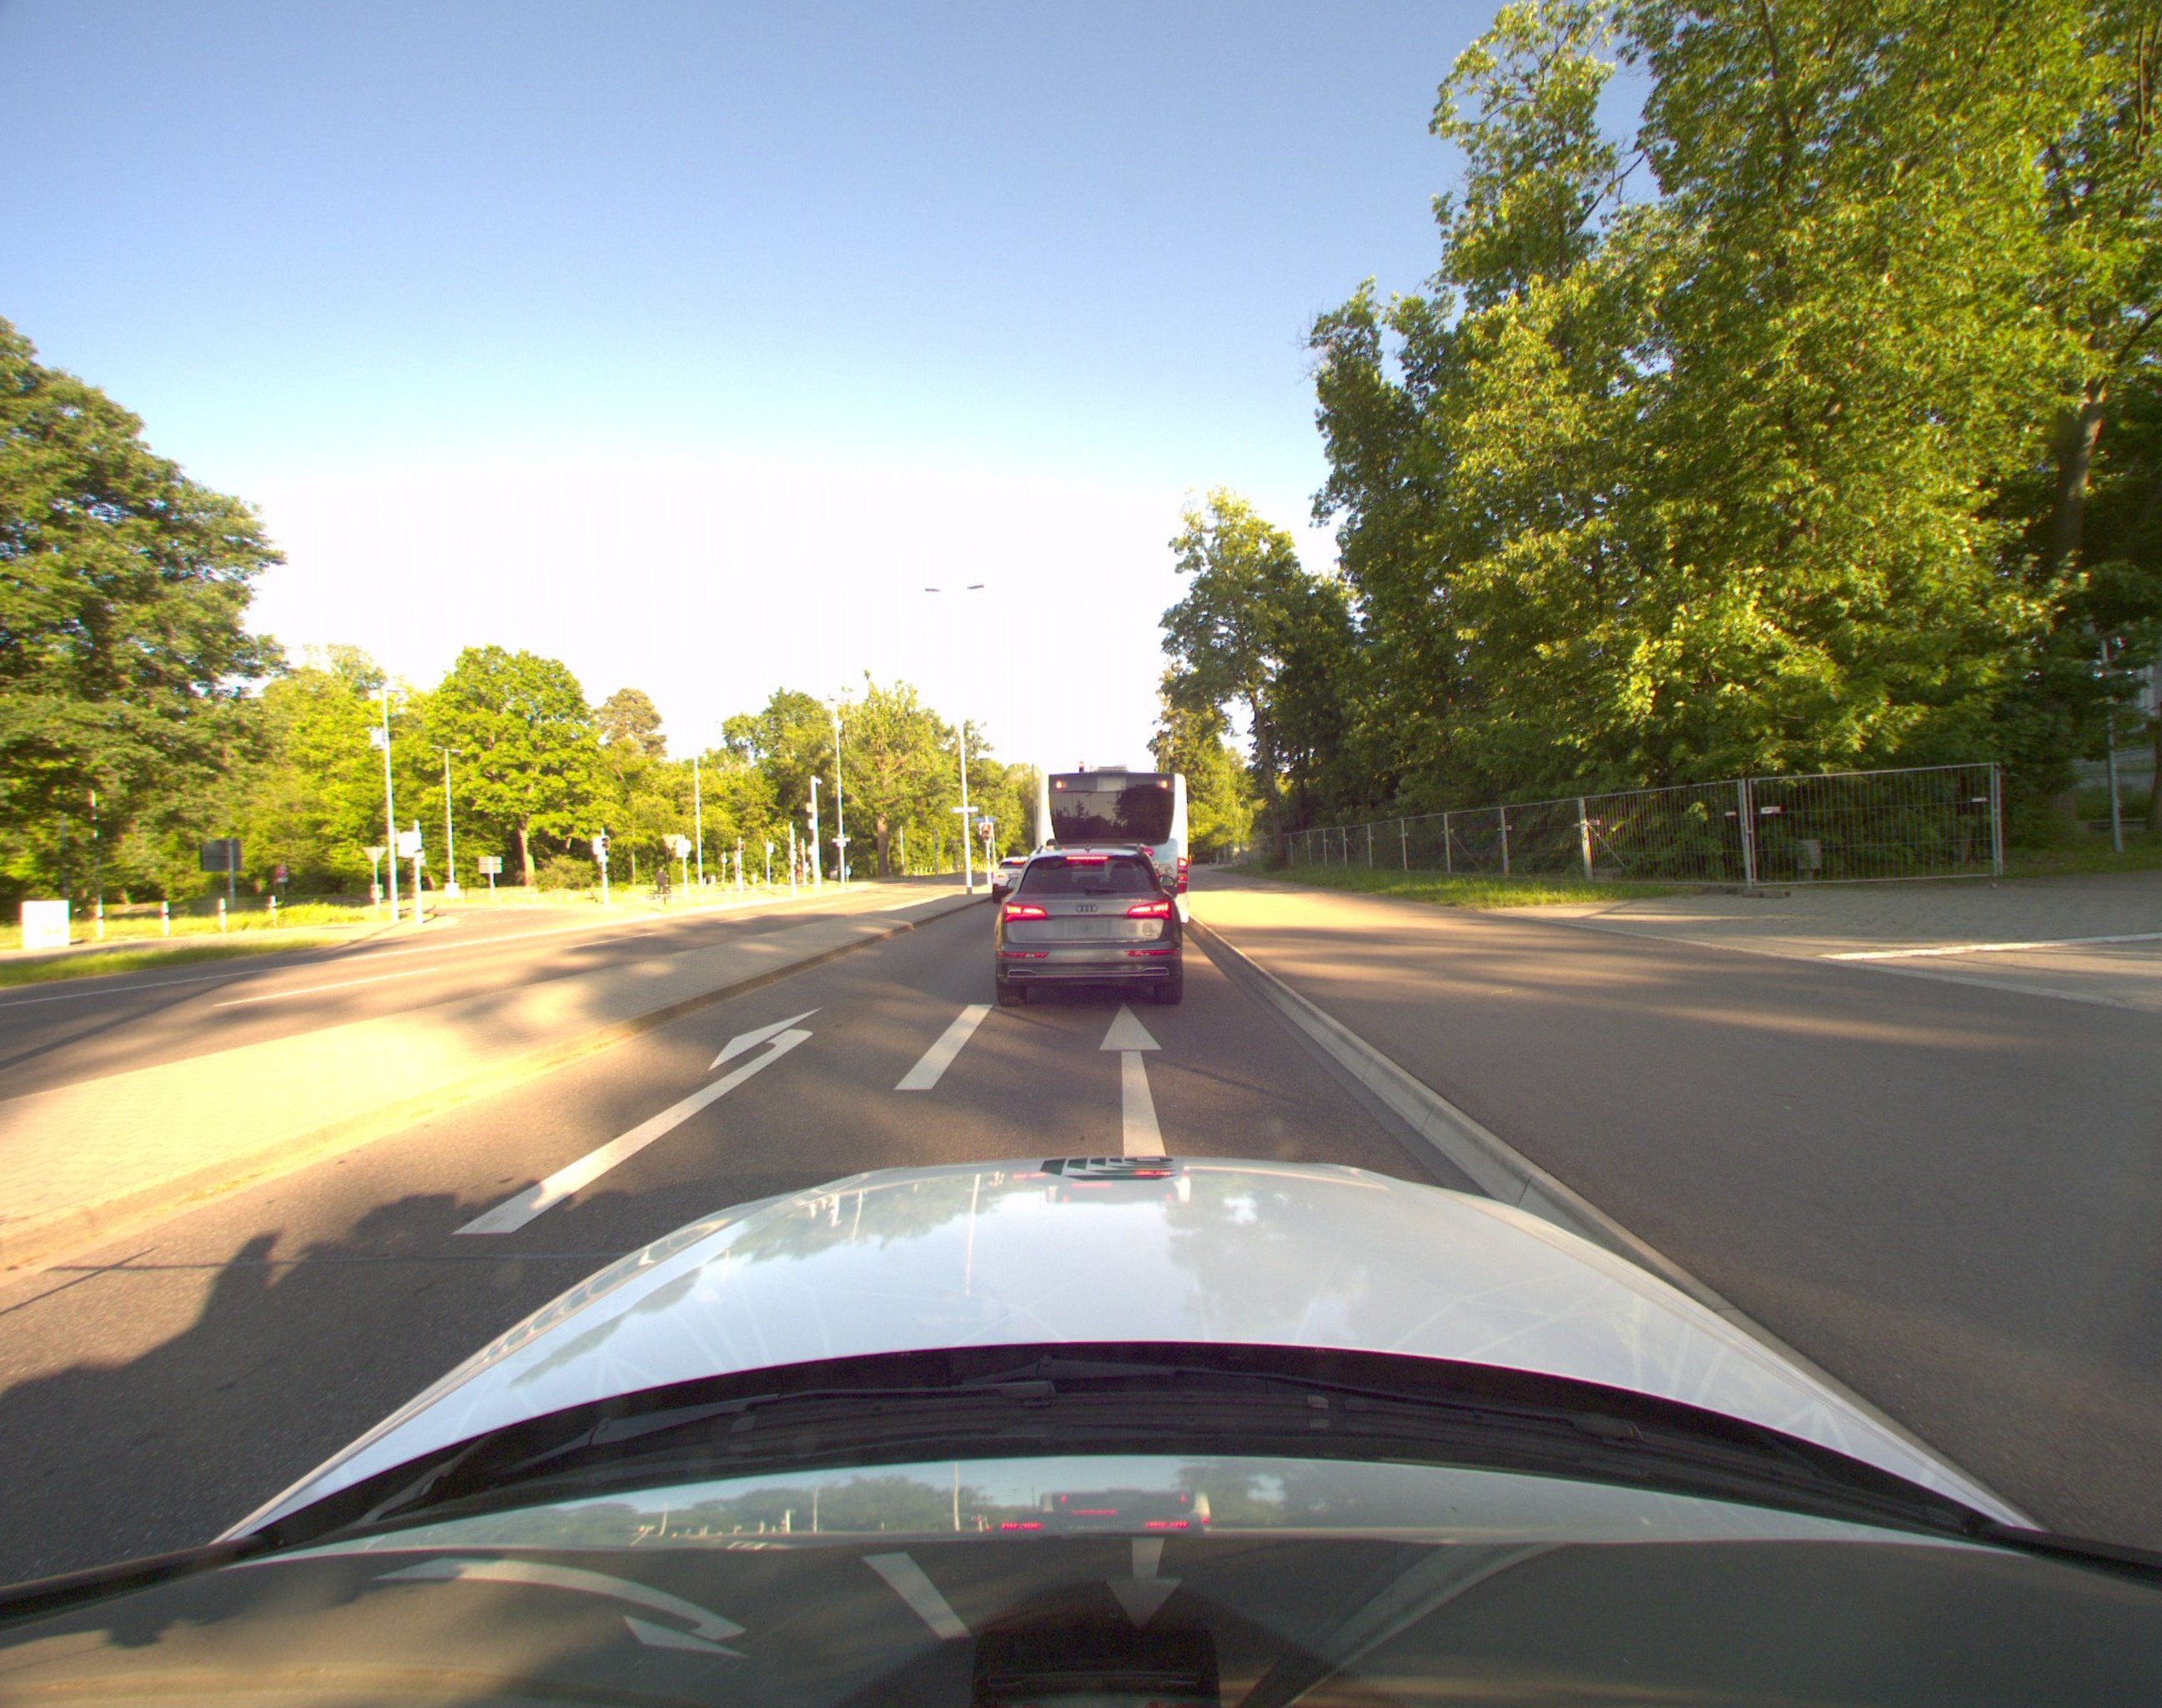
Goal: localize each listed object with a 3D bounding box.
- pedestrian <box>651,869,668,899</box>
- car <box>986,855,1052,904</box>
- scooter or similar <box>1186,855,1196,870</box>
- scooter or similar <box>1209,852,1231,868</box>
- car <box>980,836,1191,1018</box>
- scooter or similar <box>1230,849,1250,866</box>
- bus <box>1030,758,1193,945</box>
[{"bbox_3d":[-22.670,1.602,43.835,0.652,1.560,0.533,-2,-1,-41],"label":"pedestrian"},{"bbox_3d":[-2.095,0.832,28.607,1.829,1.518,4.002,-2,0,2],"label":"car"},{"bbox_3d":[11.022,0.850,81.499,0.507,1.444,2.020,-3,0,-3],"label":"scooter or similar"},{"bbox_3d":[13.441,0.595,78.769,2.025,1.444,0.601,-3,0,-23],"label":"scooter or similar"},{"bbox_3d":[0.104,0.664,9.394,1.891,1.632,4.002,-1,0,2],"label":"car"},{"bbox_3d":[15.576,0.387,80.014,0.543,1.567,1.999,-3,0,-37],"label":"scooter or similar"},{"bbox_3d":[0.644,0.004,17.891,2.585,2.989,9.330,-1,-1,2],"label":"bus"}]
